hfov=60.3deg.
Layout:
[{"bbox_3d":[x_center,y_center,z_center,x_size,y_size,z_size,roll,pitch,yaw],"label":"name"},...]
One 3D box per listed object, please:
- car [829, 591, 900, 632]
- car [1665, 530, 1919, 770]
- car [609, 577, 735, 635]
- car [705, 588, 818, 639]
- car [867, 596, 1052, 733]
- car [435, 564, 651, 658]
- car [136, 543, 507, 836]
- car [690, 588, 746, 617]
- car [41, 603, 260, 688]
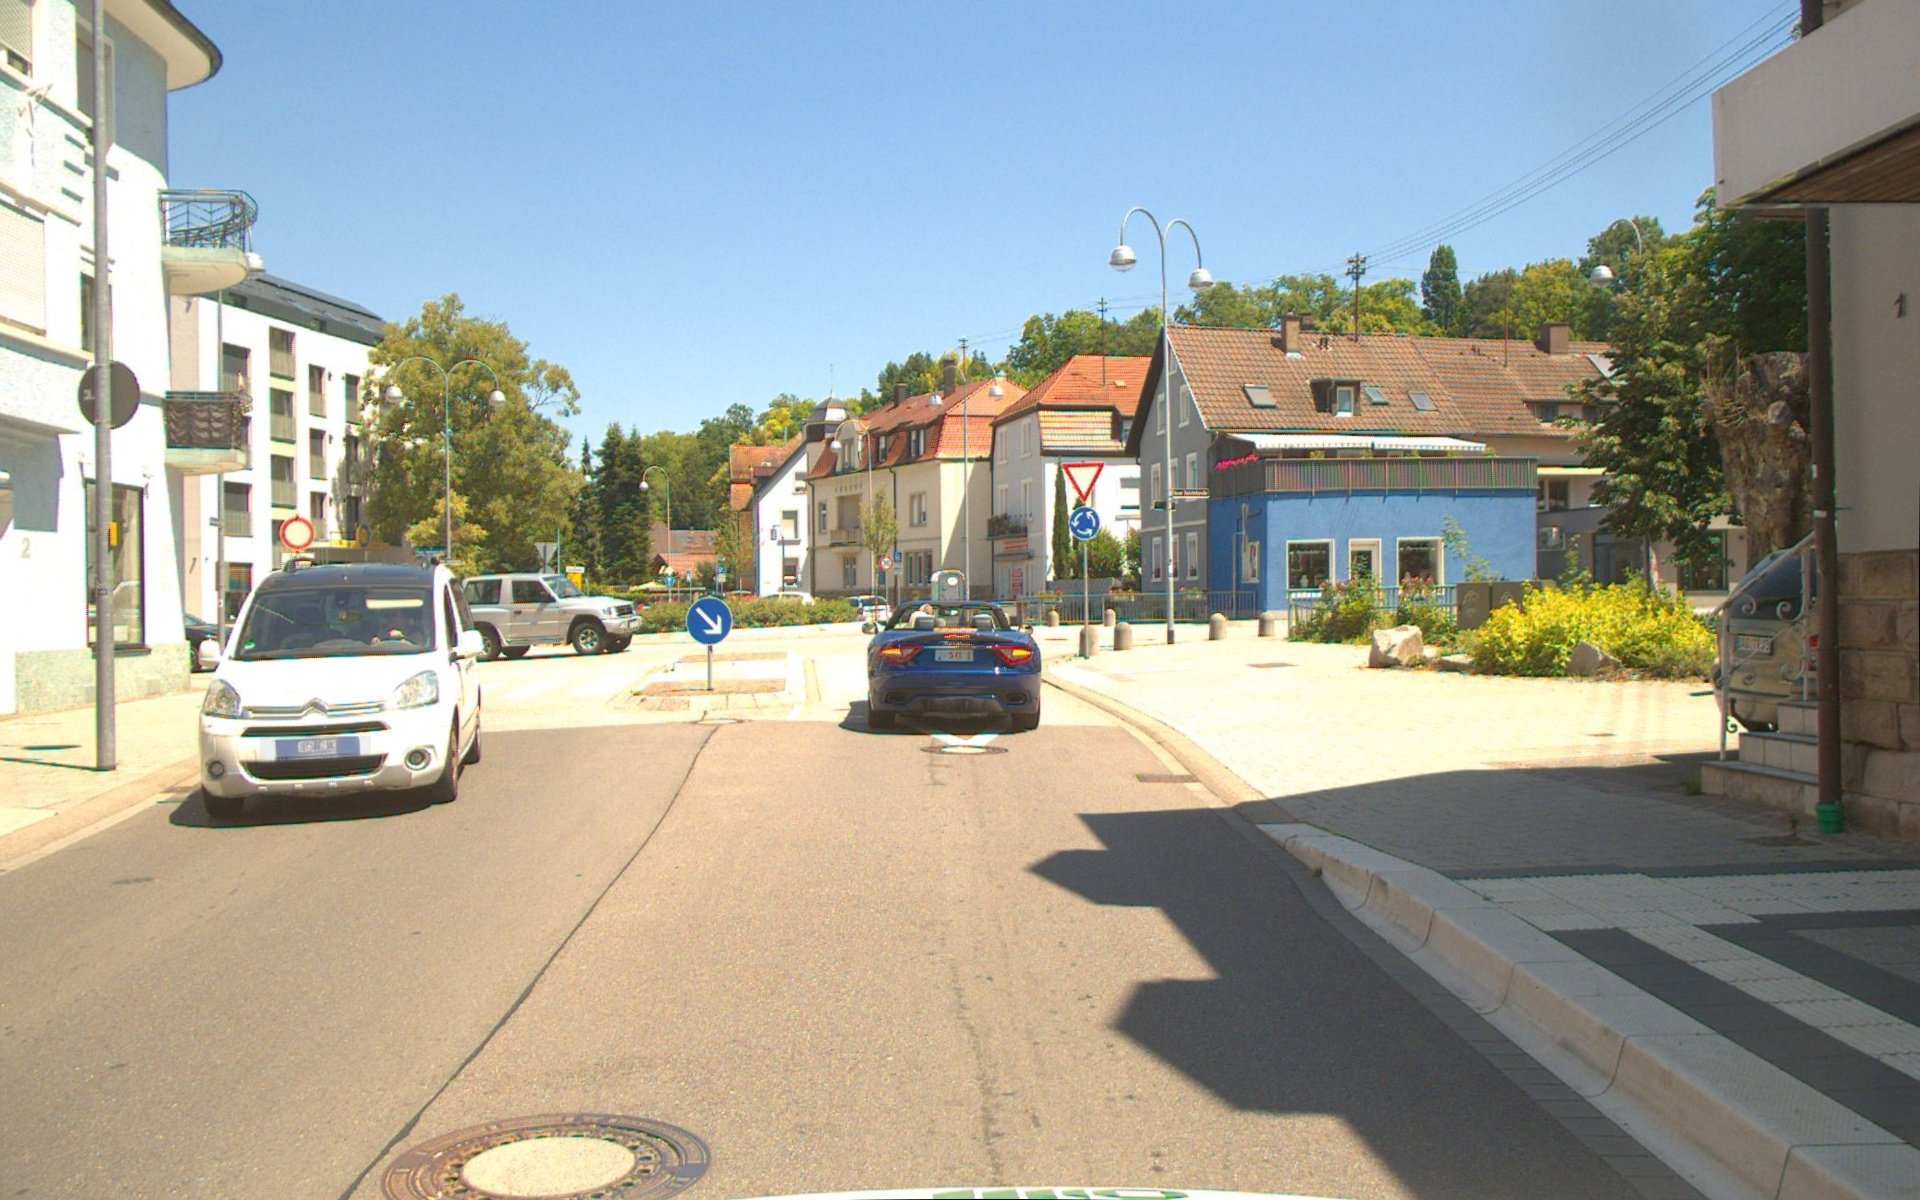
[{"bbox_3d":[-4.193,0.509,72.112,1.892,1.641,4.120,-2,-1,-22],"label":"car"},{"bbox_3d":[7.724,0.264,12.485,3.979,1.623,1.801,-3,0,-2],"label":"car"},{"bbox_3d":[-7.521,0.177,42.874,1.972,1.353,4.160,-2,0,-29],"label":"car"},{"bbox_3d":[-6.341,0.417,53.135,3.388,1.476,1.580,-2,0,0],"label":"car"},{"bbox_3d":[-0.036,0.653,18.945,1.872,1.384,4.284,0,0,-1],"label":"car"},{"bbox_3d":[-8.967,0.228,35.734,4.126,1.907,1.765,-1,1,9],"label":"car"},{"bbox_3d":[-4.840,0.578,13.223,1.958,1.853,4.403,-2,0,-11],"label":"car"},{"bbox_3d":[-14.487,0.165,98.725,1.833,1.616,3.955,-3,0,-32],"label":"car"},{"bbox_3d":[-18.648,1.033,38.167,4.158,1.573,1.813,-4,1,10],"label":"car"}]
